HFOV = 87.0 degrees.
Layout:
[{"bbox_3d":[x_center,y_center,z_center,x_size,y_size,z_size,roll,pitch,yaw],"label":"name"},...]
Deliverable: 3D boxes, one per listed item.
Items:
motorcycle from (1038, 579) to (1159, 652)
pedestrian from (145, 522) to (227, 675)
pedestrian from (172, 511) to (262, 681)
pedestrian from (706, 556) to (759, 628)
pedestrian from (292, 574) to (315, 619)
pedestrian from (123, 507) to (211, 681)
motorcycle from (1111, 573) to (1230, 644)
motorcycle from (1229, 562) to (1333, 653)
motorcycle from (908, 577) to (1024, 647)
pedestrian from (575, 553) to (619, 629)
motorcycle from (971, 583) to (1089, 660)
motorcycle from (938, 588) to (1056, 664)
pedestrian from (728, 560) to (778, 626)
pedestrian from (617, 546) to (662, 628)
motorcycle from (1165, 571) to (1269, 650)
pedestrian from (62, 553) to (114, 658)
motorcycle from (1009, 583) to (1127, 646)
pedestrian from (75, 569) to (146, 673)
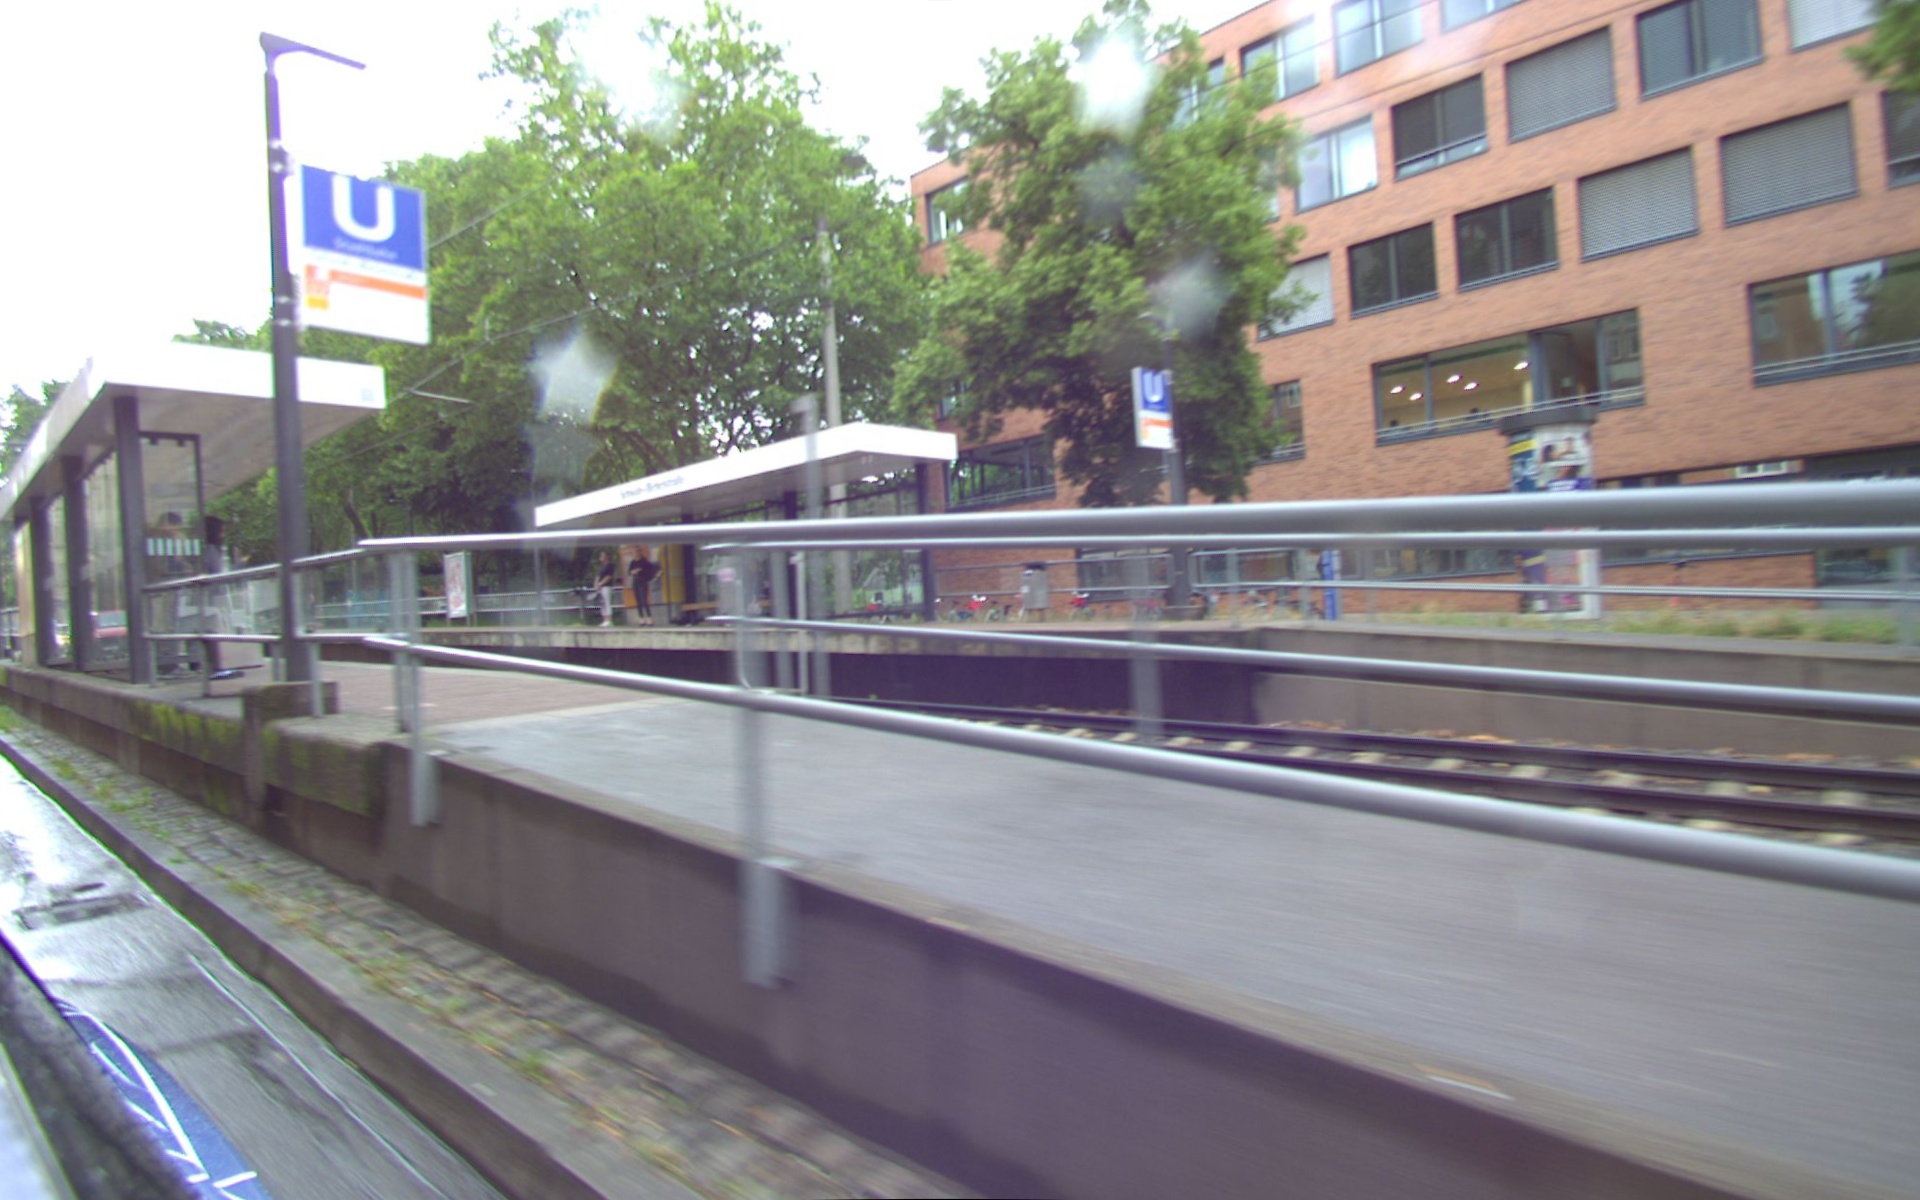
[{"bbox_3d":[3.489,0.329,24.935,1.005,1.617,3.825,-2,1,40],"label":"motorcycle"},{"bbox_3d":[-8.377,-0.016,10.955,0.606,1.593,0.507,-2,0,-44],"label":"pedestrian"},{"bbox_3d":[-7.248,-0.037,9.873,0.606,1.593,0.507,-2,0,-44],"label":"pedestrian"},{"bbox_3d":[-4.520,-0.159,20.109,0.563,1.373,0.769,-3,0,40],"label":"pedestrian"},{"bbox_3d":[-24.694,-0.131,38.067,0.555,1.653,0.689,-3,0,-41],"label":"pedestrian"},{"bbox_3d":[-8.089,-0.061,10.321,0.606,1.700,0.587,-2,0,-44],"label":"pedestrian"},{"bbox_3d":[5.060,0.163,24.010,1.005,1.499,3.825,-2,1,40],"label":"motorcycle"},{"bbox_3d":[6.945,0.116,21.752,0.993,1.829,3.005,-2,0,40],"label":"motorcycle"},{"bbox_3d":[0.225,0.301,28.565,1.005,1.787,3.825,-2,1,40],"label":"motorcycle"},{"bbox_3d":[-8.119,-0.200,22.635,0.564,1.653,0.679,-3,0,40],"label":"pedestrian"},{"bbox_3d":[1.926,0.513,26.823,1.005,1.829,3.825,-2,1,40],"label":"motorcycle"},{"bbox_3d":[1.081,0.658,27.595,1.005,1.829,3.825,-2,1,40],"label":"motorcycle"},{"bbox_3d":[-4.026,-0.137,19.700,0.563,1.249,0.696,-3,0,40],"label":"pedestrian"},{"bbox_3d":[-6.915,-0.286,21.827,0.705,1.728,0.556,-3,0,40],"label":"pedestrian"},{"bbox_3d":[5.898,0.205,23.048,1.005,1.640,3.027,-2,1,40],"label":"motorcycle"},{"bbox_3d":[-13.797,0.087,16.017,0.489,1.617,0.638,-2,0,-31],"label":"pedestrian"},{"bbox_3d":[2.844,0.334,26.012,1.005,1.417,3.825,-2,1,40],"label":"motorcycle"},{"bbox_3d":[-10.510,0.249,12.523,0.606,1.236,0.507,-2,0,-44],"label":"pedestrian"}]
